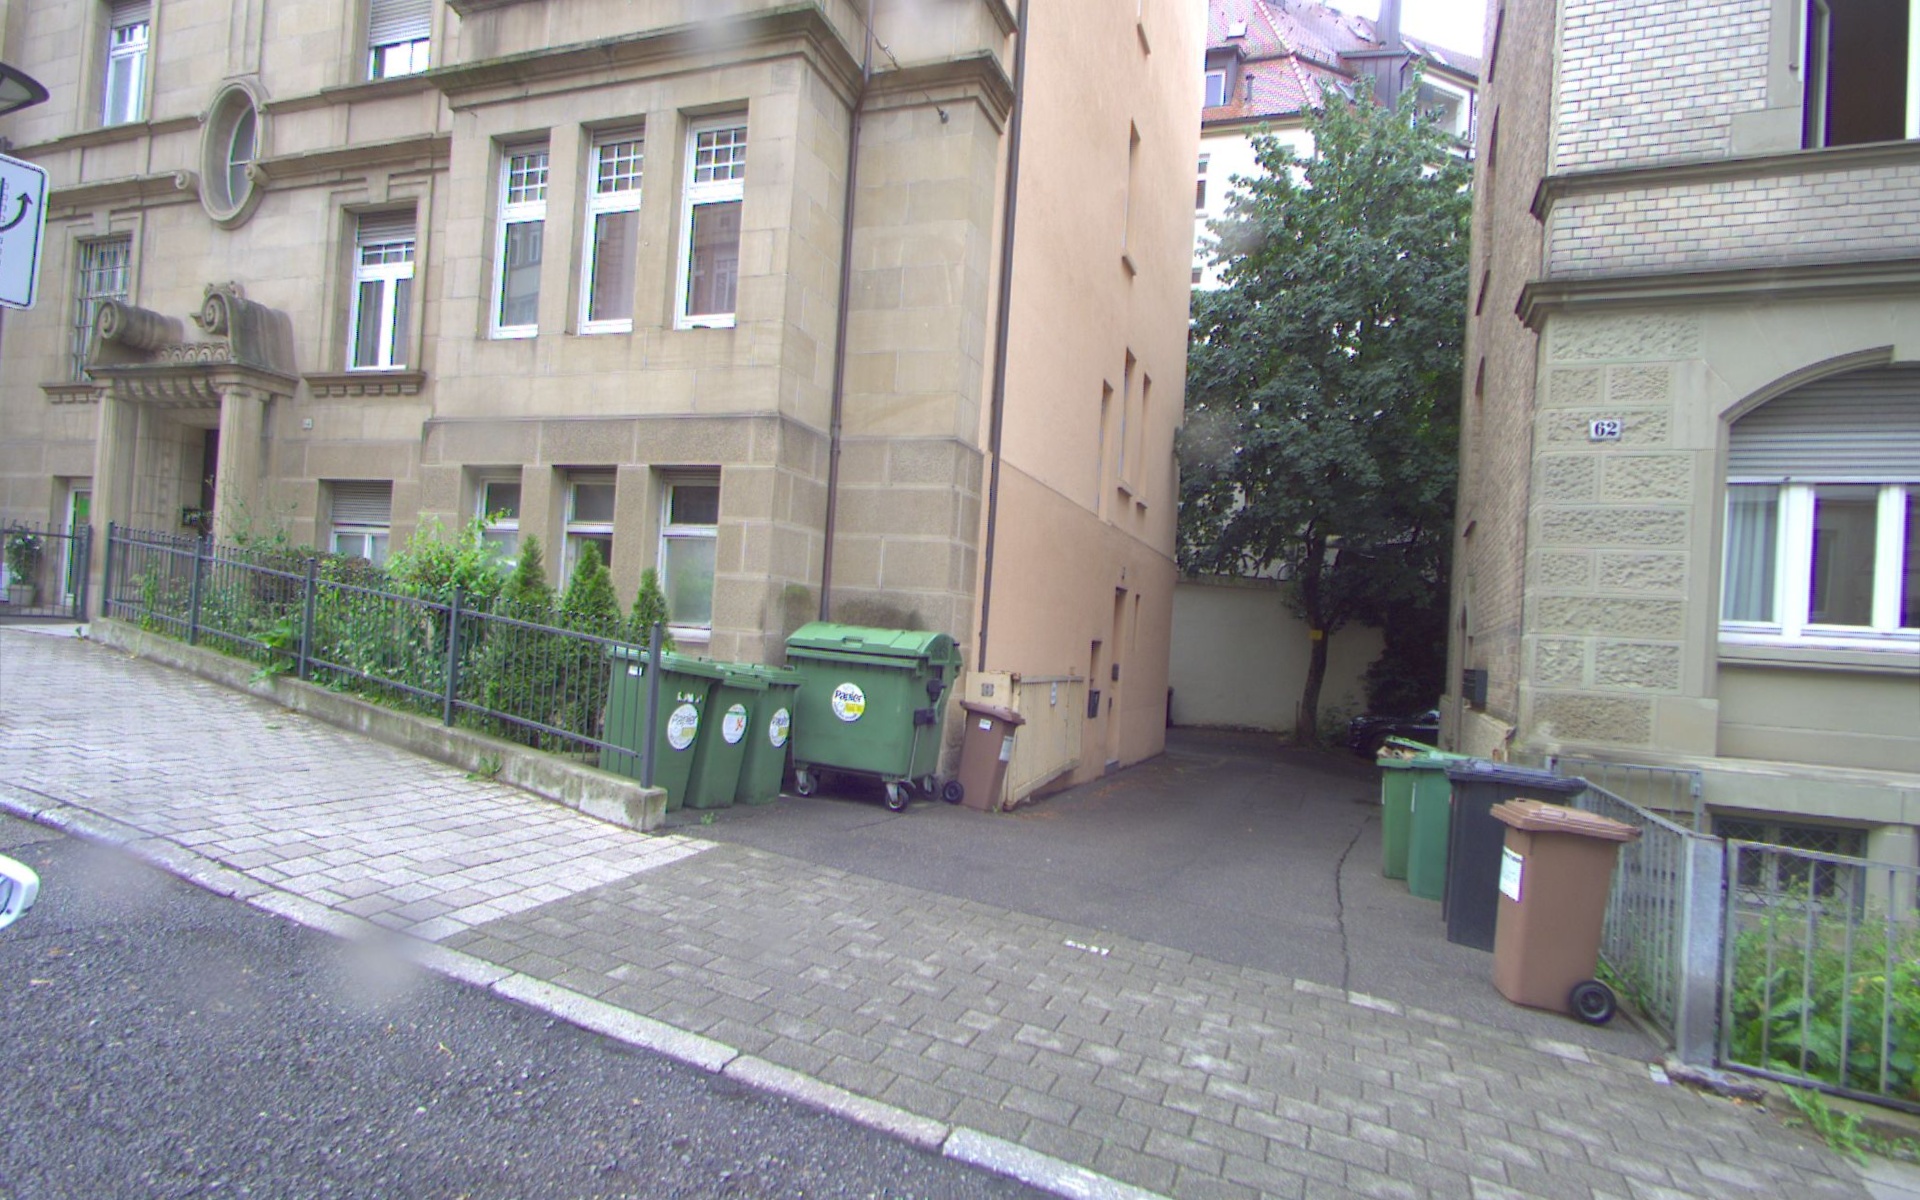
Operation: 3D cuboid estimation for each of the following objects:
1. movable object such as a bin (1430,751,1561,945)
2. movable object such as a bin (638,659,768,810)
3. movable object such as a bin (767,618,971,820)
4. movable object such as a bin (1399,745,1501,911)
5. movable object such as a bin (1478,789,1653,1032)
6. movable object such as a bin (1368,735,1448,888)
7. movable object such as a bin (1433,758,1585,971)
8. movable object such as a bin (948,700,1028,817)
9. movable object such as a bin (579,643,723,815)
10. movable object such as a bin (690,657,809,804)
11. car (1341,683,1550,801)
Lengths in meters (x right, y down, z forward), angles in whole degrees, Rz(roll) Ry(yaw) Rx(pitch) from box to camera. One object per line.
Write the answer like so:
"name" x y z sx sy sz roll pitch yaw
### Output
"movable object such as a bin" 3.397 1.548 6.421 0.598 1.072 0.501 6 -3 24
"movable object such as a bin" -1.852 0.963 7.291 0.593 0.978 0.540 6 -4 20
"movable object such as a bin" -0.735 0.984 8.472 1.256 1.446 0.976 6 -4 20
"movable object such as a bin" 3.584 1.644 7.394 0.545 1.072 0.498 6 -3 24
"movable object such as a bin" 2.824 1.429 4.734 0.527 0.932 0.427 7 2 20
"movable object such as a bin" 3.610 1.682 8.127 0.469 1.113 0.521 6 -3 23
"movable object such as a bin" 3.174 1.489 5.836 0.653 1.041 0.529 6 -4 30
"movable object such as a bin" 0.253 1.403 8.967 0.510 0.952 0.395 6 -4 20
"movable object such as a bin" -2.058 0.856 6.750 0.593 1.036 0.540 6 -4 20
"movable object such as a bin" -1.641 1.019 7.900 0.593 1.036 0.540 6 -4 20
"car" 11.004 3.145 22.967 3.930 1.530 1.796 13 5 28
